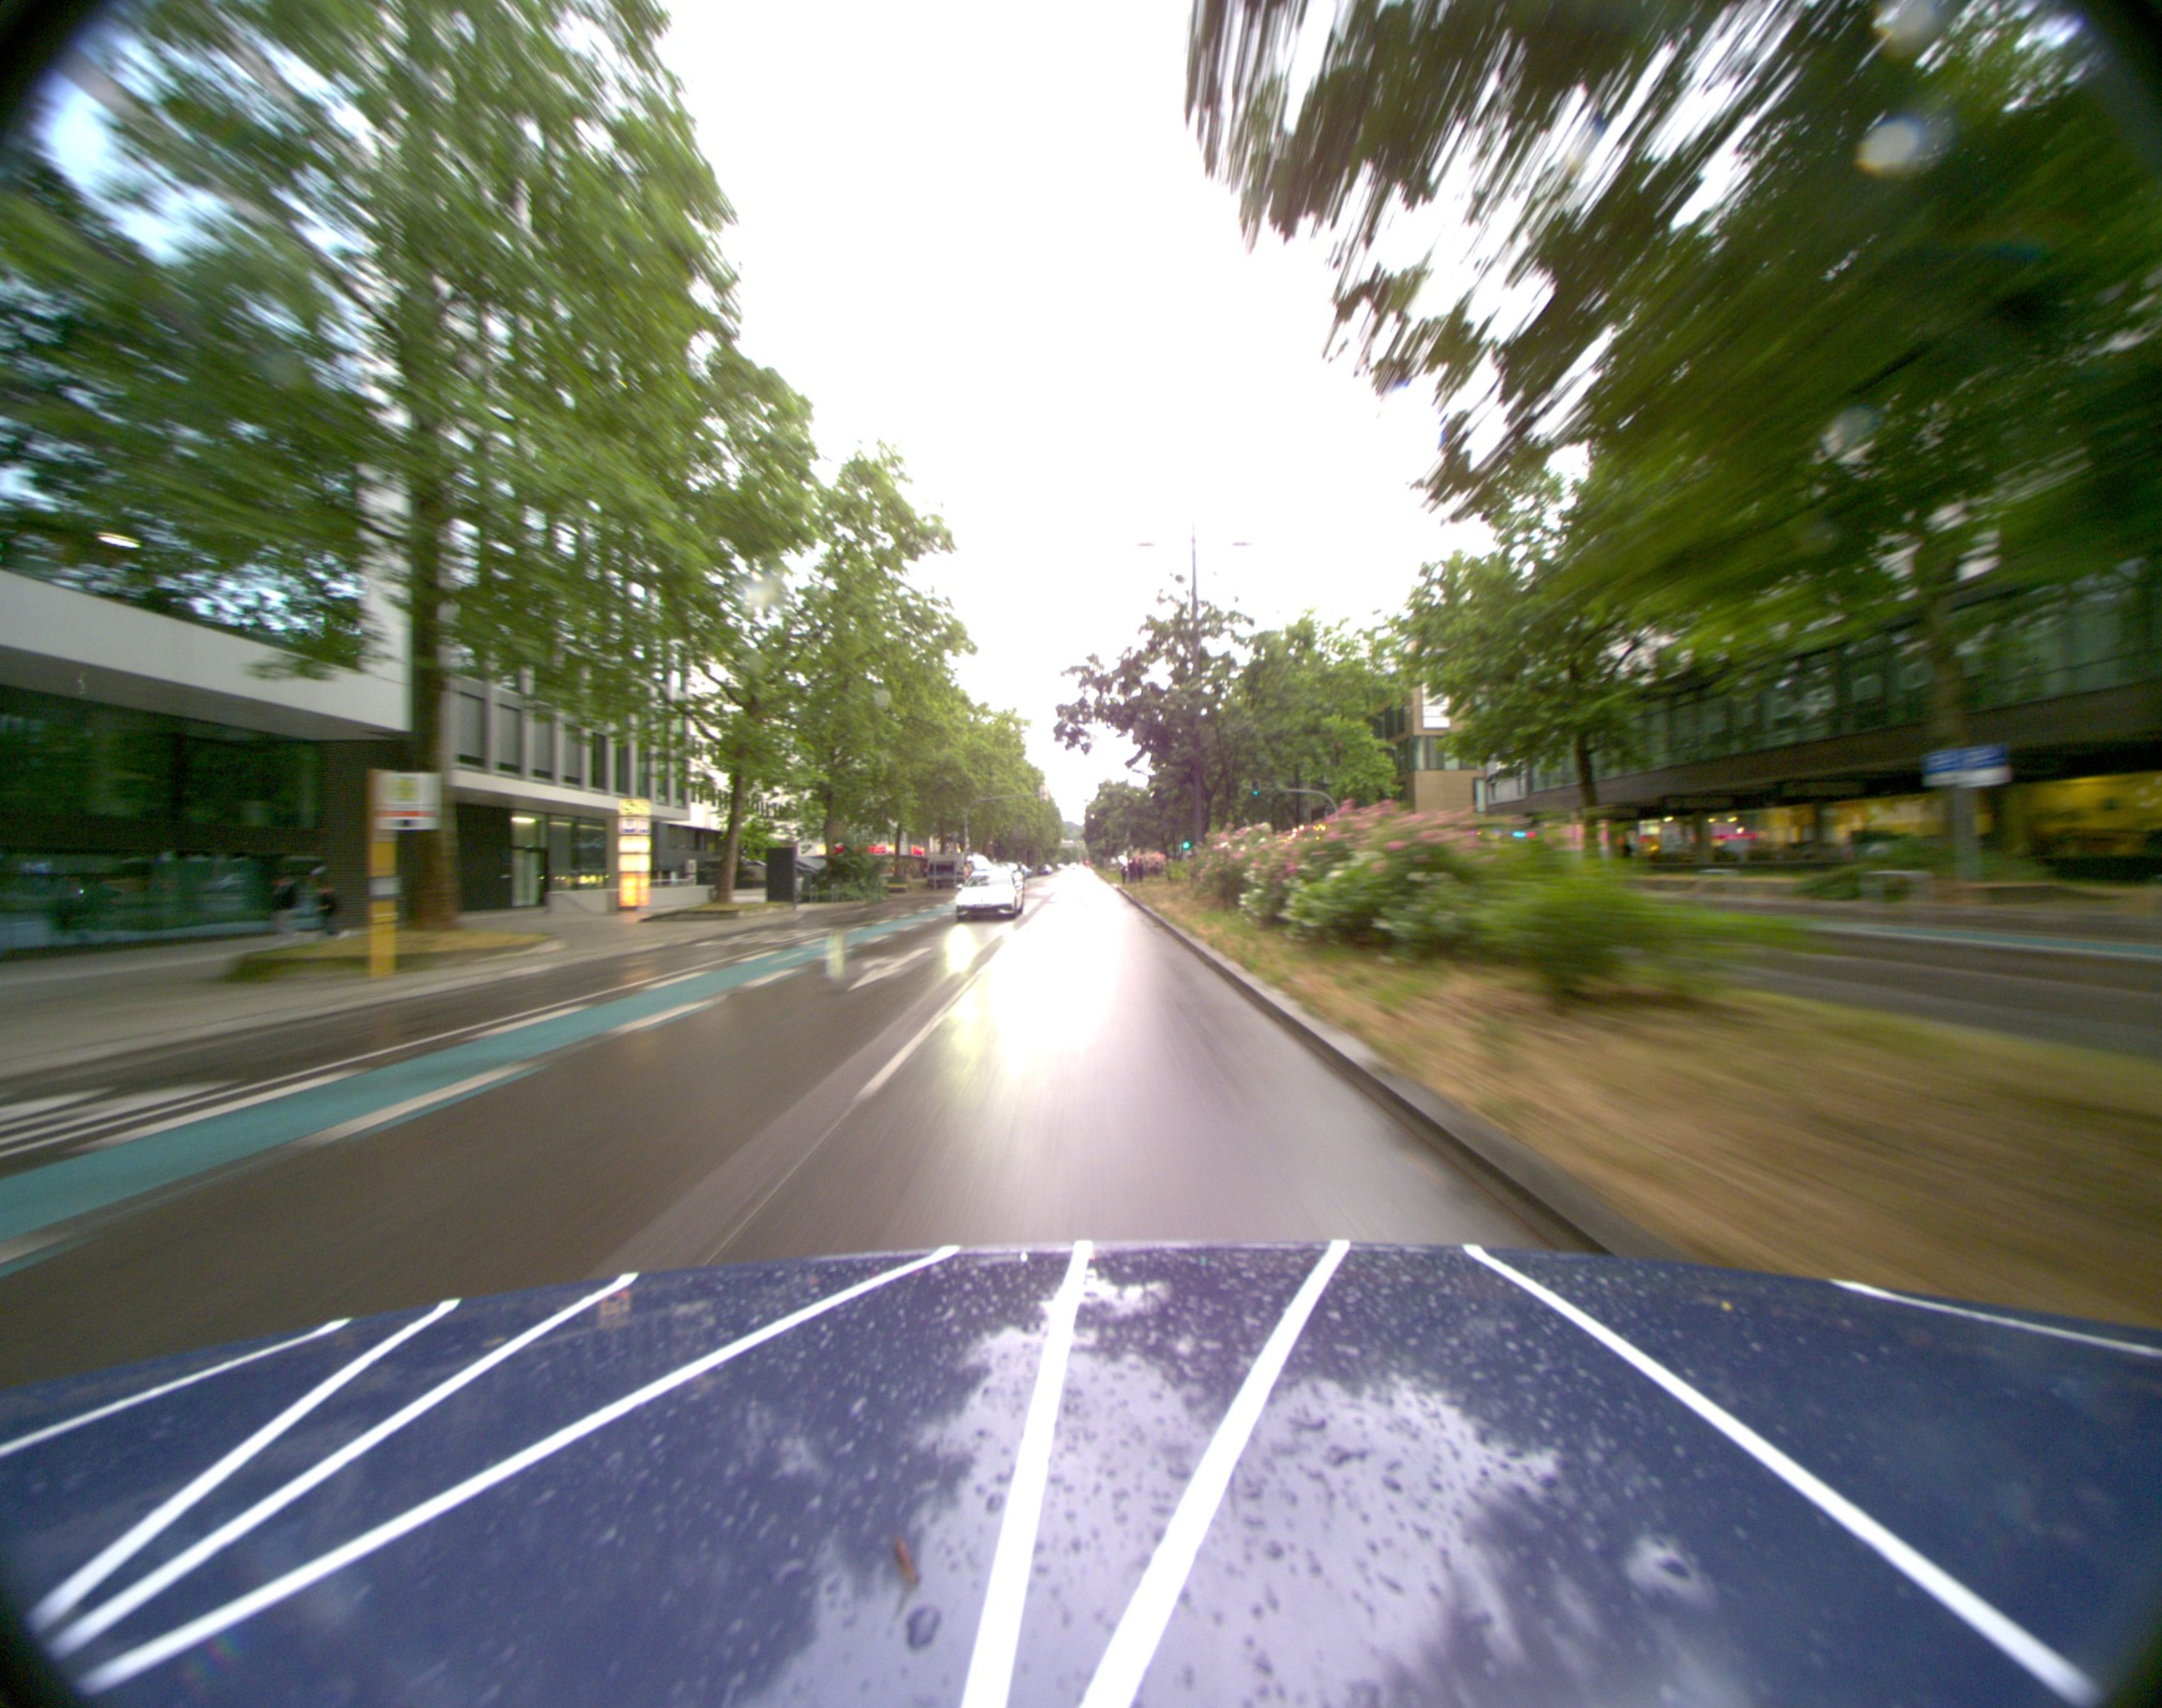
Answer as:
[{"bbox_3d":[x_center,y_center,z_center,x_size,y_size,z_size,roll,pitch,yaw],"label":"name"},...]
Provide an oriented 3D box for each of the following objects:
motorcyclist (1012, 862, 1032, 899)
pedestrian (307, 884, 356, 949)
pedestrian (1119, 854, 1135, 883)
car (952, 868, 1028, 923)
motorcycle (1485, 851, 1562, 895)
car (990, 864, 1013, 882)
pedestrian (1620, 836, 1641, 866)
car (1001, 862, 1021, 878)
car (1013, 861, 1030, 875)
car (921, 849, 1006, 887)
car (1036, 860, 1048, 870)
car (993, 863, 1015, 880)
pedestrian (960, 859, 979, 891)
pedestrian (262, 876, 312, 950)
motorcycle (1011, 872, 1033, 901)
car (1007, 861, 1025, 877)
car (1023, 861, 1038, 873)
[{"bbox_3d":[-2.646,1.185,34.121,0.744,1.575,1.059,-2,1,0],"label":"motorcyclist"},{"bbox_3d":[-19.544,1.612,19.828,0.527,1.616,0.719,0,1,0],"label":"pedestrian"},{"bbox_3d":[2.984,0.945,49.550,0.892,1.838,0.787,-2,1,-5],"label":"pedestrian"},{"bbox_3d":[-2.785,1.242,24.028,1.795,1.463,3.794,-3,0,1],"label":"car"},{"bbox_3d":[16.139,0.678,27.733,2.523,1.381,0.899,-4,1,-17],"label":"motorcycle"},{"bbox_3d":[-6.928,1.632,66.412,1.598,1.516,3.426,-2,0,0],"label":"car"},{"bbox_3d":[27.133,-0.152,37.515,0.568,1.457,0.560,-2,0,-4],"label":"pedestrian"},{"bbox_3d":[-6.955,1.579,76.062,1.598,1.506,3.425,-2,0,0],"label":"car"},{"bbox_3d":[-6.956,1.622,89.294,1.598,1.516,3.425,-2,0,0],"label":"car"},{"bbox_3d":[-8.777,1.072,56.493,6.268,2.664,2.326,-2,1,36],"label":"car"},{"bbox_3d":[-6.271,1.746,121.892,1.598,1.516,3.425,-2,0,0],"label":"car"},{"bbox_3d":[-7.114,1.596,70.662,1.598,1.516,3.425,-2,0,0],"label":"car"},{"bbox_3d":[-6.604,1.266,45.103,0.891,1.838,0.721,-2,1,7],"label":"pedestrian"},{"bbox_3d":[-20.489,1.502,19.623,0.524,1.848,0.704,0,2,0],"label":"pedestrian"},{"bbox_3d":[-2.636,1.439,34.145,0.744,1.194,2.235,-2,0,0],"label":"motorcycle"},{"bbox_3d":[-6.836,1.566,80.154,1.598,1.516,3.425,-2,0,0],"label":"car"},{"bbox_3d":[-6.490,1.640,97.193,1.598,1.516,3.425,-2,0,0],"label":"car"}]
